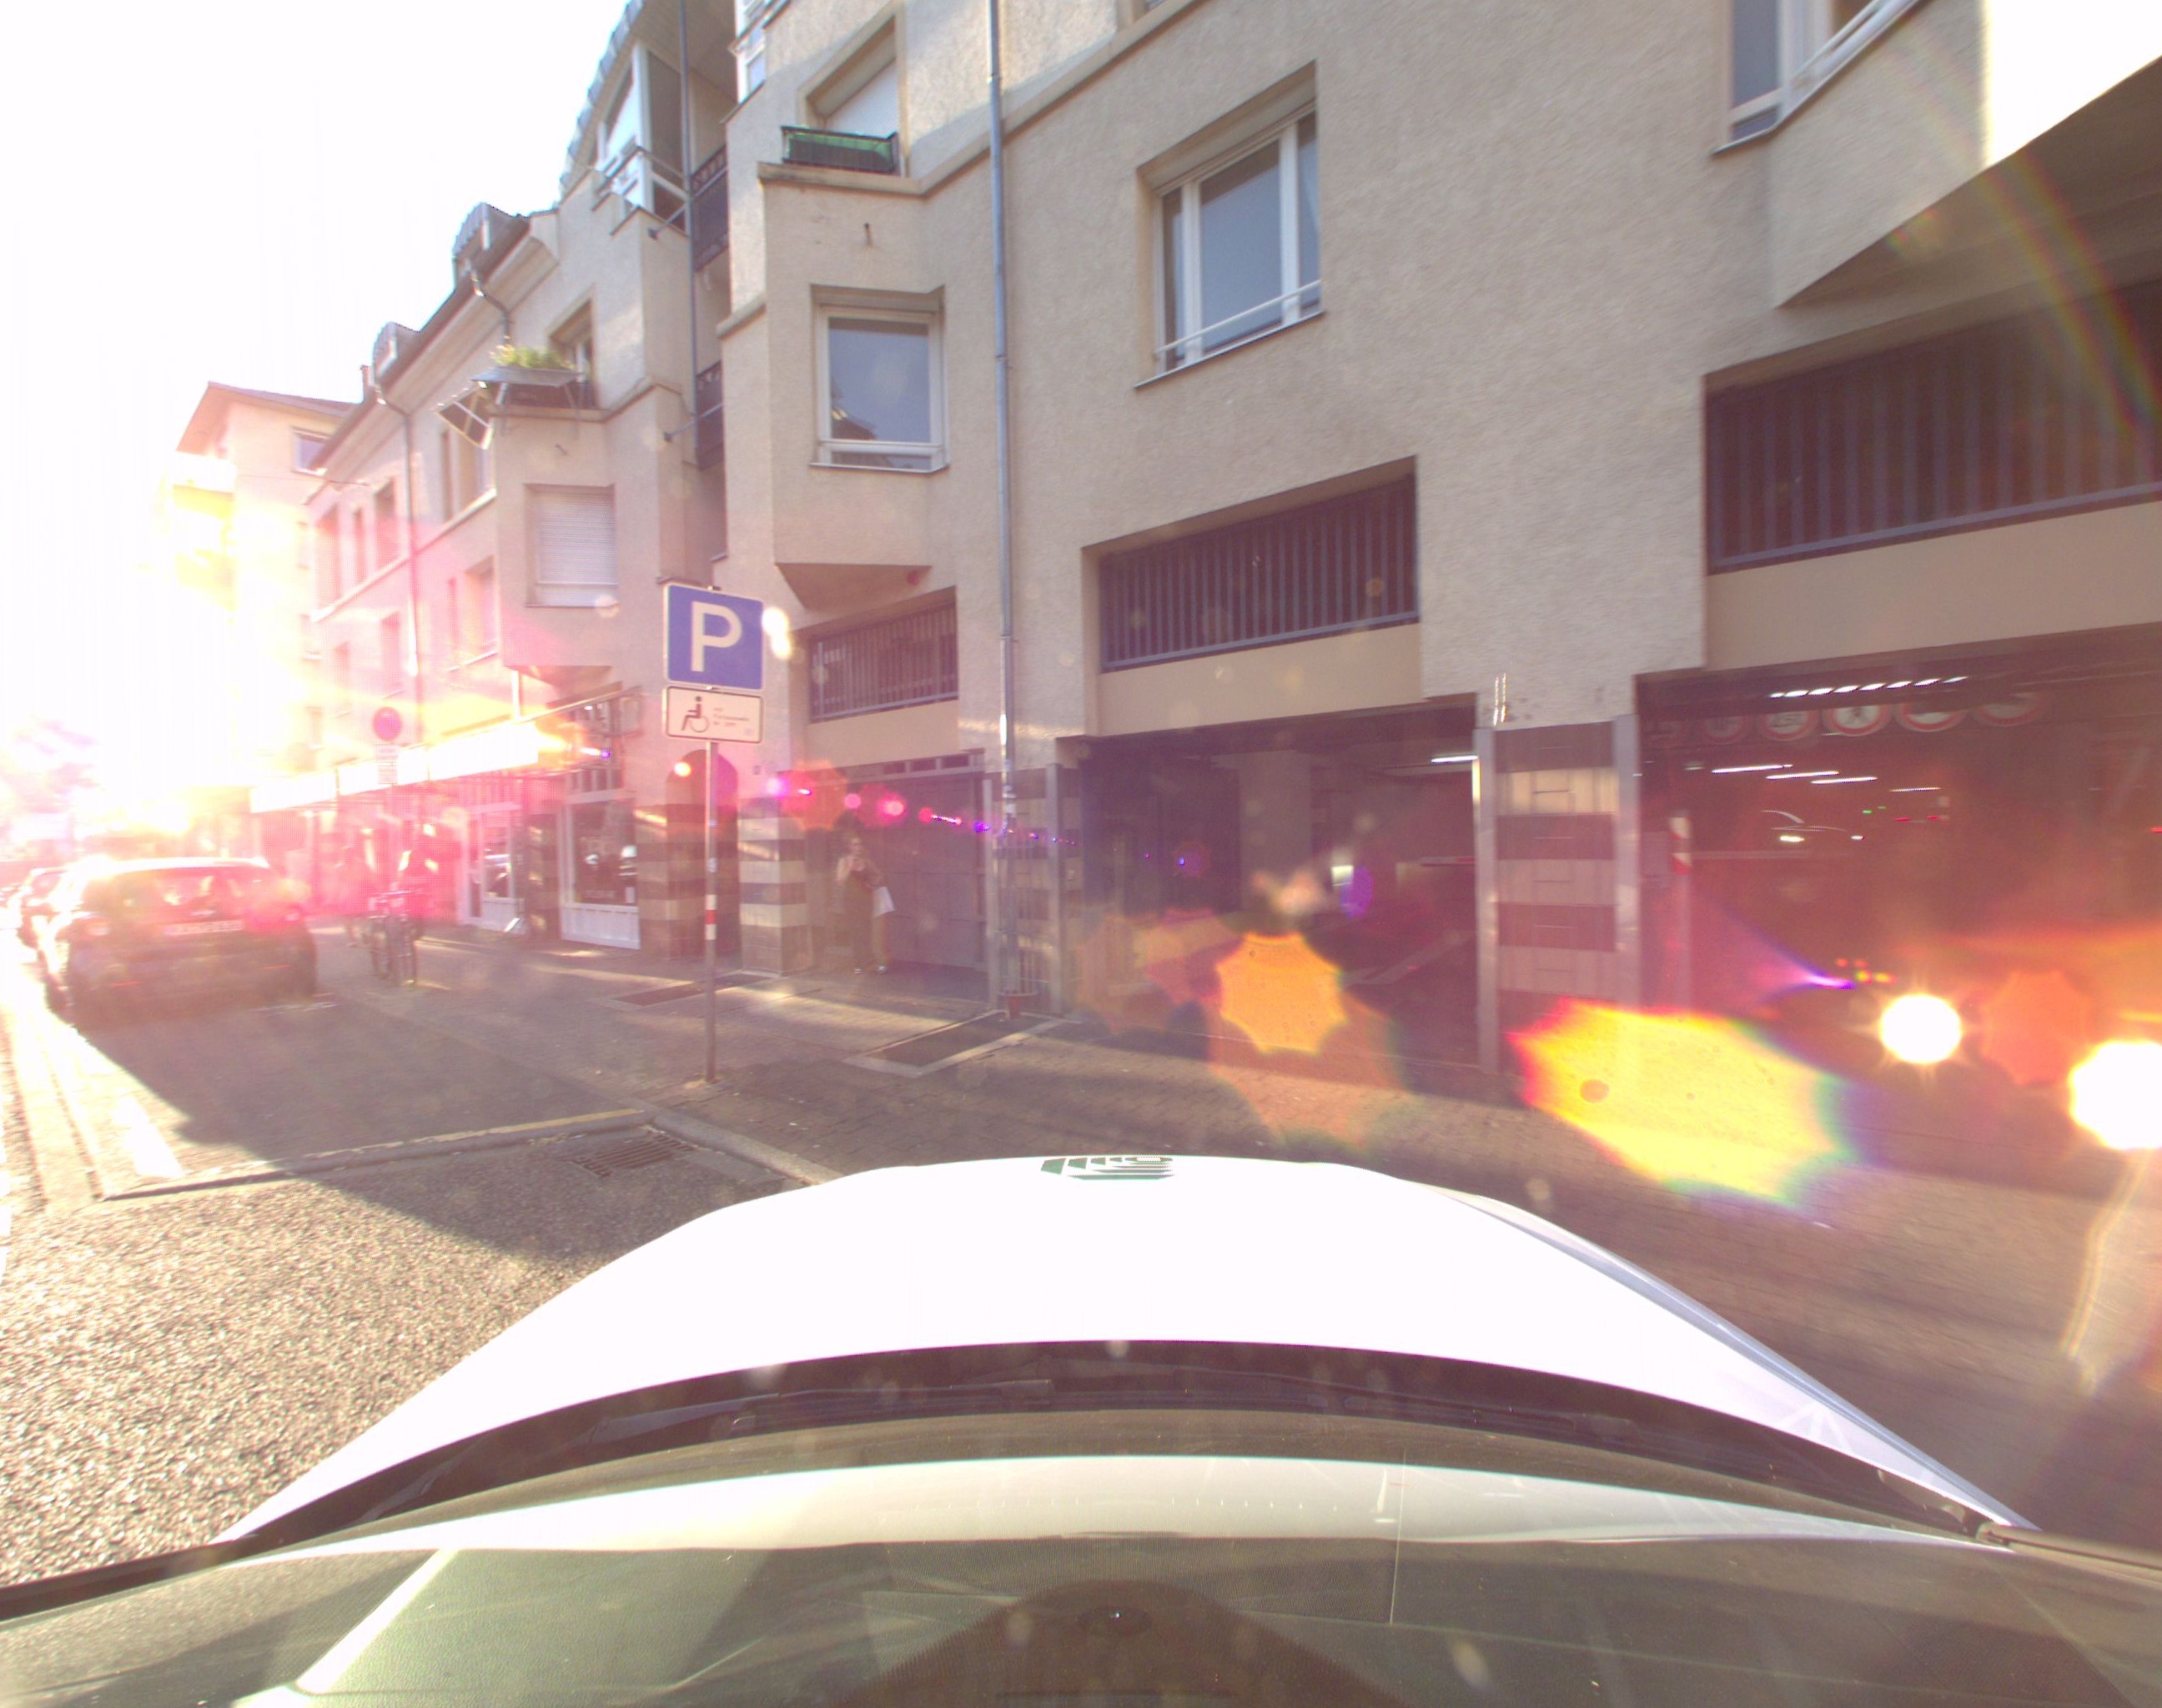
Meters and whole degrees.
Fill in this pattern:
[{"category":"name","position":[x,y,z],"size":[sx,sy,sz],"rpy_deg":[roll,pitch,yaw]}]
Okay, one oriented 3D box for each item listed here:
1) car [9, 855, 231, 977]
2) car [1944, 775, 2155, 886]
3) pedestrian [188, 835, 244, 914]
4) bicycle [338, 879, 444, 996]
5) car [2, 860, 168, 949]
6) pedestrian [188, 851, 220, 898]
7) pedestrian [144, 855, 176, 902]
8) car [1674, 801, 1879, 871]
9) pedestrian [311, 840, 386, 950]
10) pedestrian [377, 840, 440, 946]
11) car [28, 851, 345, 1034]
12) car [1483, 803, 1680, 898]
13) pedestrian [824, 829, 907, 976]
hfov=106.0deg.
[{"category":"car","position":[-15.000,0.846,12.676],"size":[3.738,1.580,1.807],"rpy_deg":[0,1,34]},{"category":"car","position":[16.221,-0.431,13.857],"size":[1.540,1.617,3.906],"rpy_deg":[-1,2,38]},{"category":"pedestrian","position":[-19.553,0.452,18.415],"size":[0.728,1.733,0.725],"rpy_deg":[-1,2,36]},{"category":"bicycle","position":[-8.188,0.935,9.640],"size":[1.952,1.206,0.564],"rpy_deg":[0,1,39]},{"category":"car","position":[-20.632,0.953,16.842],"size":[3.738,1.580,1.807],"rpy_deg":[0,1,34]},{"category":"pedestrian","position":[-34.192,0.778,31.752],"size":[0.658,1.791,0.725],"rpy_deg":[-1,2,37]},{"category":"pedestrian","position":[-35.819,0.937,31.675],"size":[0.658,1.791,0.725],"rpy_deg":[-1,2,37]},{"category":"car","position":[18.226,-0.478,21.650],"size":[1.878,1.624,4.303],"rpy_deg":[-1,1,2]},{"category":"pedestrian","position":[-11.880,0.643,13.206],"size":[1.027,1.700,0.636],"rpy_deg":[-1,1,36]},{"category":"pedestrian","position":[-11.273,0.627,13.650],"size":[0.821,1.700,0.565],"rpy_deg":[-1,1,36]},{"category":"car","position":[-10.042,0.800,9.082],"size":[3.915,1.580,1.807],"rpy_deg":[0,1,34]},{"category":"car","position":[9.884,-0.137,15.973],"size":[4.270,1.572,1.799],"rpy_deg":[-3,2,-36]},{"category":"pedestrian","position":[-2.427,0.516,9.176],"size":[0.780,1.572,0.529],"rpy_deg":[-2,1,-26]}]
